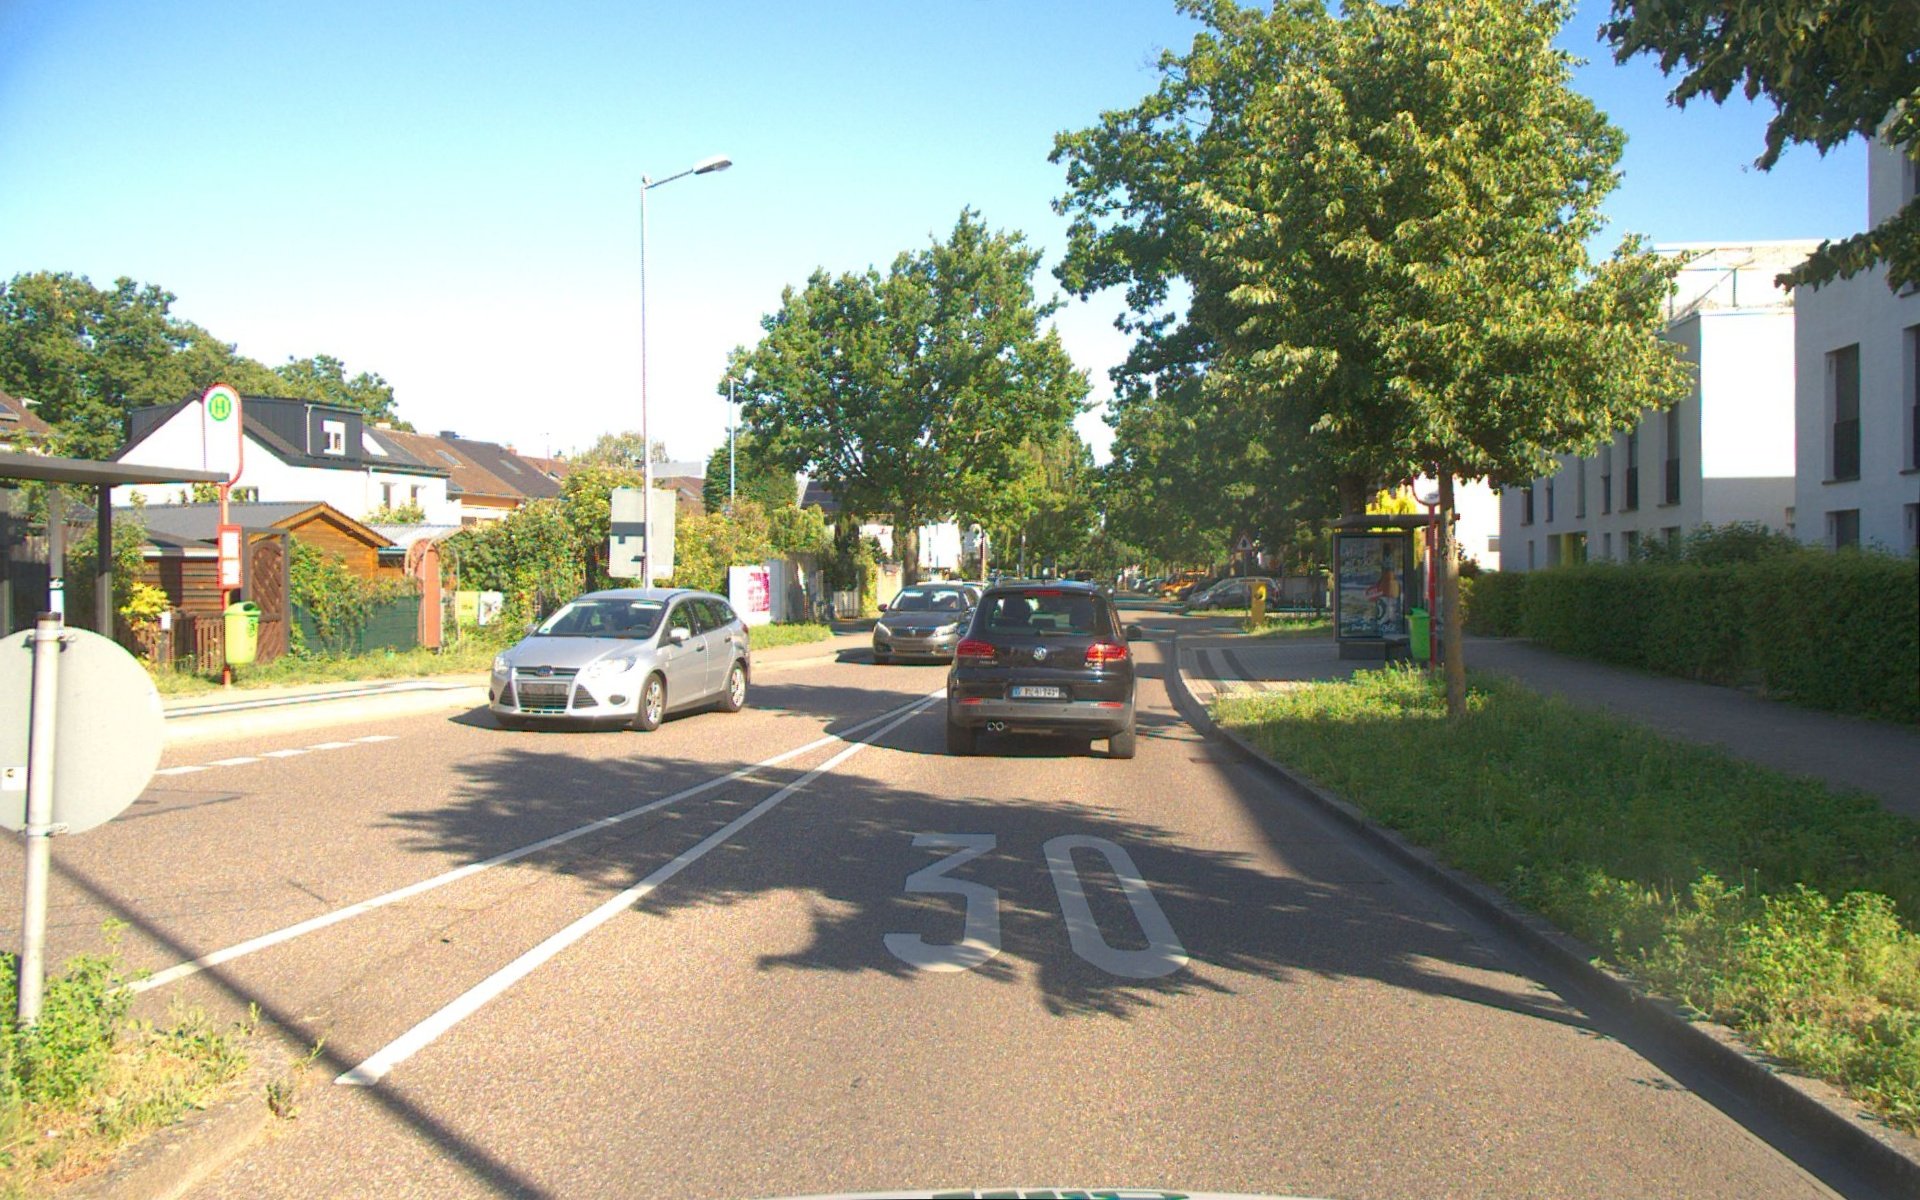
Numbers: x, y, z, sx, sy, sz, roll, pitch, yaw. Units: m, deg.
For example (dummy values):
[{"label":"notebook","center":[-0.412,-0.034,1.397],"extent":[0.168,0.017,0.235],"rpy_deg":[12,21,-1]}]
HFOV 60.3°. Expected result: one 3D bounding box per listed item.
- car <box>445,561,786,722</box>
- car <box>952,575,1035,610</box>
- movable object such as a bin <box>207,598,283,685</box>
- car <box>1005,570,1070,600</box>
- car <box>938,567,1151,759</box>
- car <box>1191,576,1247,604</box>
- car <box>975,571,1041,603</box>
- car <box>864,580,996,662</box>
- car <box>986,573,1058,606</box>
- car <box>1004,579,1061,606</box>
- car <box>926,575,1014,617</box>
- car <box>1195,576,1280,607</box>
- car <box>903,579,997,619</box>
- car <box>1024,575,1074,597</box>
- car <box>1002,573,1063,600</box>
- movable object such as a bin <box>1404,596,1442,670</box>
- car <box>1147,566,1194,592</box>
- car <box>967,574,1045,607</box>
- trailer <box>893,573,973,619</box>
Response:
[{"label":"car","center":[-3.760,0.400,19.021],"extent":[2.162,1.618,4.538],"rpy_deg":[0,0,13]},{"label":"car","center":[1.662,-0.390,81.882],"extent":[3.902,1.699,2.002],"rpy_deg":[0,1,8]},{"label":"movable object such as a bin","center":[-8.627,0.491,19.968],"extent":[0.580,0.984,0.559],"rpy_deg":[4,1,11]},{"label":"car","center":[5.204,-0.992,111.357],"extent":[4.298,1.973,1.579],"rpy_deg":[0,-1,2]},{"label":"car","center":[0.960,0.537,17.143],"extent":[1.888,1.683,4.517],"rpy_deg":[1,1,5]},{"label":"car","center":[14.516,-0.553,92.838],"extent":[2.981,1.534,1.247],"rpy_deg":[-1,0,1]},{"label":"car","center":[2.895,-0.792,99.428],"extent":[3.904,1.868,1.638],"rpy_deg":[-1,0,3]},{"label":"car","center":[-0.508,0.357,32.438],"extent":[1.951,1.468,4.454],"rpy_deg":[1,1,7]},{"label":"car","center":[3.449,-0.580,91.849],"extent":[3.903,1.762,2.001],"rpy_deg":[-1,1,3]},{"label":"car","center":[4.224,-0.469,96.386],"extent":[3.300,1.516,1.644],"rpy_deg":[-1,0,3]},{"label":"car","center":[0.416,-0.169,67.112],"extent":[3.476,1.641,1.853],"rpy_deg":[-1,1,1]},{"label":"car","center":[13.143,-0.408,78.539],"extent":[3.902,1.392,1.848],"rpy_deg":[-1,1,6]},{"label":"car","center":[-0.374,-0.045,64.507],"extent":[3.473,1.503,1.810],"rpy_deg":[-1,1,7]},{"label":"car","center":[7.245,-1.141,134.279],"extent":[3.906,1.713,1.923],"rpy_deg":[-1,1,-1]},{"label":"car","center":[4.782,-0.892,108.917],"extent":[3.902,1.750,1.822],"rpy_deg":[0,-1,6]},{"label":"movable object such as a bin","center":[6.672,0.471,23.836],"extent":[0.361,1.034,0.599],"rpy_deg":[-1,1,-3]},{"label":"car","center":[17.942,-1.793,140.799],"extent":[3.902,2.049,2.001],"rpy_deg":[-1,-1,7]},{"label":"car","center":[2.423,-0.505,87.173],"extent":[3.902,1.668,2.002],"rpy_deg":[0,1,8]},{"label":"trailer","center":[-0.992,-0.160,62.209],"extent":[2.905,1.685,1.397],"rpy_deg":[-1,0,3]}]
